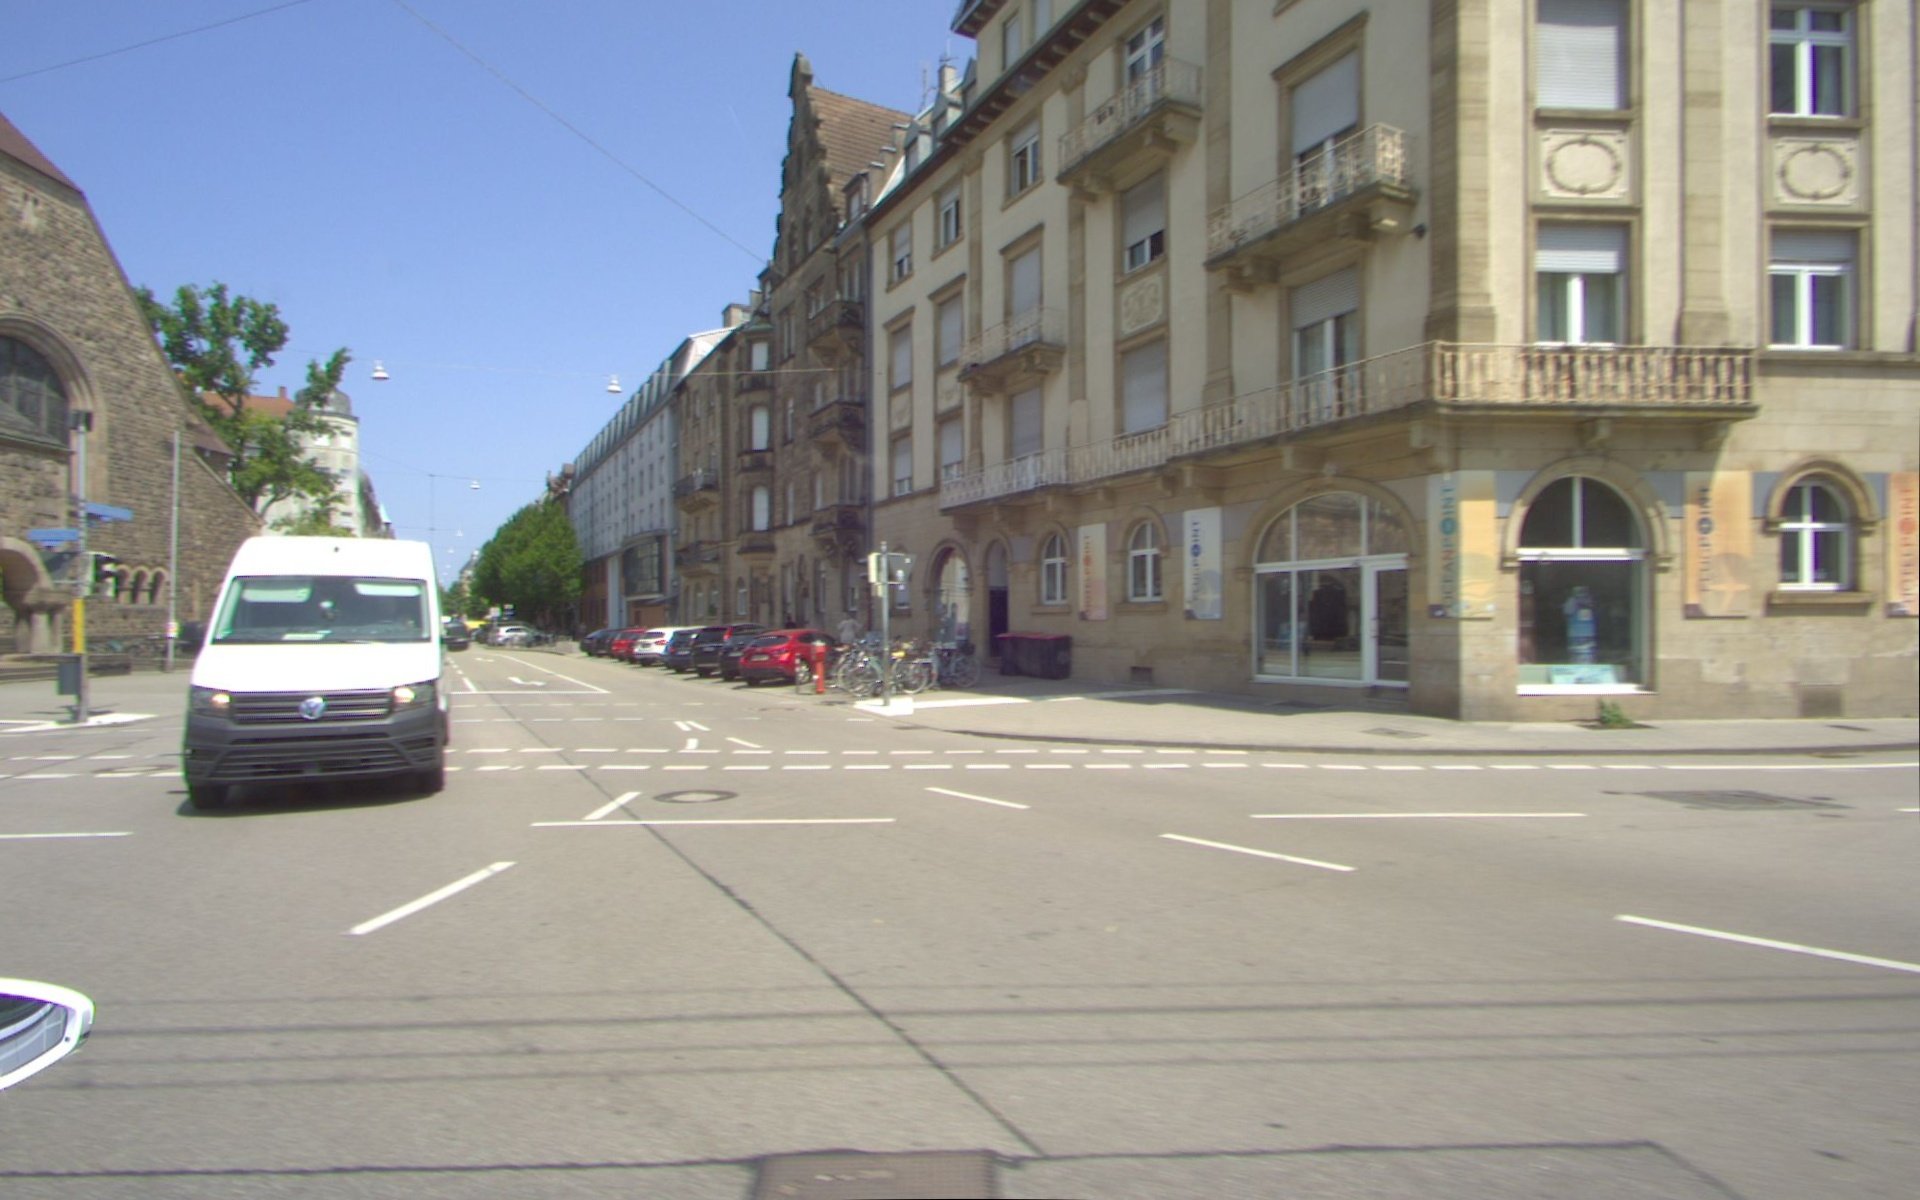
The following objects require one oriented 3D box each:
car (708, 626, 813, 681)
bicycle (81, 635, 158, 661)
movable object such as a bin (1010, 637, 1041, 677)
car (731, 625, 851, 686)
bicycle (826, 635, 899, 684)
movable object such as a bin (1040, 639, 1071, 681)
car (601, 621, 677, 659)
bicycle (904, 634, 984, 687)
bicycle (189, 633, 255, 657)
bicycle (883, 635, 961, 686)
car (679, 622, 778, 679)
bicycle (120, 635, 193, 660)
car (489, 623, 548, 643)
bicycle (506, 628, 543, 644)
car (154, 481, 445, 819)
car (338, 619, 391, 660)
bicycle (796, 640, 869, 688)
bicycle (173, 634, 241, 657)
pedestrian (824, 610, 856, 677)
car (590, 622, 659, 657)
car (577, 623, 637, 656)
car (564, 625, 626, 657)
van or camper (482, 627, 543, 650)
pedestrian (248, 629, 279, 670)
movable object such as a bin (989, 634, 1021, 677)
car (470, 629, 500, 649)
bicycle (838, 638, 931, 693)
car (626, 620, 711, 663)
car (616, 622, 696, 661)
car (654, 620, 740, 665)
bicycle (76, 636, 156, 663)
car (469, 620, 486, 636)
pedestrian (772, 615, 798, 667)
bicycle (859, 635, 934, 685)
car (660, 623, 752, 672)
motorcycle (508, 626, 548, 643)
[{"bbox_3d":[-6.015,1.594,30.496,1.590,1.498,3.218,-3,-1,22],"label":"car"},{"bbox_3d":[-33.792,1.934,40.285,2.450,1.024,0.706,0,0,-2],"label":"bicycle"},{"bbox_3d":[1.652,1.439,25.324,0.573,1.007,0.589,0,-1,-20],"label":"movable object such as a bin"},{"bbox_3d":[-4.645,1.499,27.828,1.593,1.498,3.212,-3,-1,29],"label":"car"},{"bbox_3d":[-2.485,1.505,25.453,1.772,1.166,0.564,-1,-1,-15],"label":"bicycle"},{"bbox_3d":[2.320,1.460,24.361,0.573,1.007,0.589,0,-1,-20],"label":"movable object such as a bin"},{"bbox_3d":[-15.051,1.870,47.054,1.592,1.595,3.215,-3,-1,26],"label":"car"},{"bbox_3d":[-0.375,1.411,23.388,1.772,1.166,0.564,-1,-1,-15],"label":"bicycle"},{"bbox_3d":[-33.428,2.033,45.360,2.450,1.024,0.706,0,0,-2],"label":"bicycle"},{"bbox_3d":[-0.917,1.449,24.172,1.772,1.166,0.564,-1,-1,-15],"label":"bicycle"},{"bbox_3d":[-7.621,1.641,33.183,1.590,1.686,3.218,-3,-1,22],"label":"car"},{"bbox_3d":[-33.698,1.968,42.034,2.450,1.024,0.706,0,0,-2],"label":"bicycle"},{"bbox_3d":[-35.103,2.659,79.630,1.728,1.568,3.973,-2,-2,38],"label":"car"},{"bbox_3d":[-33.007,2.743,75.920,0.674,1.189,2.580,-1,-2,39],"label":"bicycle"},{"bbox_3d":[-6.995,0.458,11.335,2.046,2.671,6.604,0,-1,-28],"label":"car"},{"bbox_3d":[-31.475,2.058,53.053,2.013,2.030,4.949,1,-1,-26],"label":"car"},{"bbox_3d":[-3.306,1.642,26.042,1.781,1.166,0.562,-1,-1,-34],"label":"bicycle"},{"bbox_3d":[-33.321,2.014,44.339,2.450,1.024,0.706,0,0,-2],"label":"bicycle"},{"bbox_3d":[-3.951,1.427,32.993,0.852,2.140,1.099,0,-1,-18],"label":"pedestrian"},{"bbox_3d":[-16.510,1.921,49.454,1.588,1.595,3.222,-3,-1,17],"label":"car"},{"bbox_3d":[-18.467,2.042,52.553,1.468,1.595,3.225,-3,-1,11],"label":"car"},{"bbox_3d":[-19.995,2.216,54.985,1.588,1.595,3.223,-3,-1,16],"label":"car"},{"bbox_3d":[-37.621,3.194,84.174,1.973,1.861,4.301,-1,-2,35],"label":"van or camper"},{"bbox_3d":[-26.961,1.920,38.798,0.707,1.578,0.791,0,-1,-10],"label":"pedestrian"},{"bbox_3d":[1.155,1.423,25.817,0.659,1.078,0.589,0,-1,-20],"label":"movable object such as a bin"},{"bbox_3d":[-44.325,3.610,93.416,1.935,1.772,3.973,1,-1,-35],"label":"car"},{"bbox_3d":[-1.694,1.456,22.417,2.023,1.166,0.564,0,0,-15],"label":"bicycle"},{"bbox_3d":[-12.087,1.708,41.665,1.592,1.595,3.215,-3,-1,26],"label":"car"},{"bbox_3d":[-13.428,1.822,44.382,1.592,1.595,3.215,-3,-1,26],"label":"car"},{"bbox_3d":[-10.251,1.648,39.184,1.590,1.595,3.218,-3,-1,22],"label":"car"},{"bbox_3d":[-32.976,1.913,39.142,2.450,1.024,0.706,0,0,-2],"label":"bicycle"},{"bbox_3d":[-62.807,3.614,130.365,1.883,2.039,3.986,-1,-2,-26],"label":"car"},{"bbox_3d":[-6.938,1.620,39.707,0.852,2.039,1.099,0,-1,-18],"label":"pedestrian"},{"bbox_3d":[-1.584,1.478,24.868,1.772,1.166,0.564,-1,-1,-15],"label":"bicycle"},{"bbox_3d":[-9.134,1.679,36.276,1.590,1.595,3.218,-3,-1,22],"label":"car"},{"bbox_3d":[-31.382,2.515,72.776,2.677,1.189,0.772,1,-2,-26],"label":"motorcycle"}]
